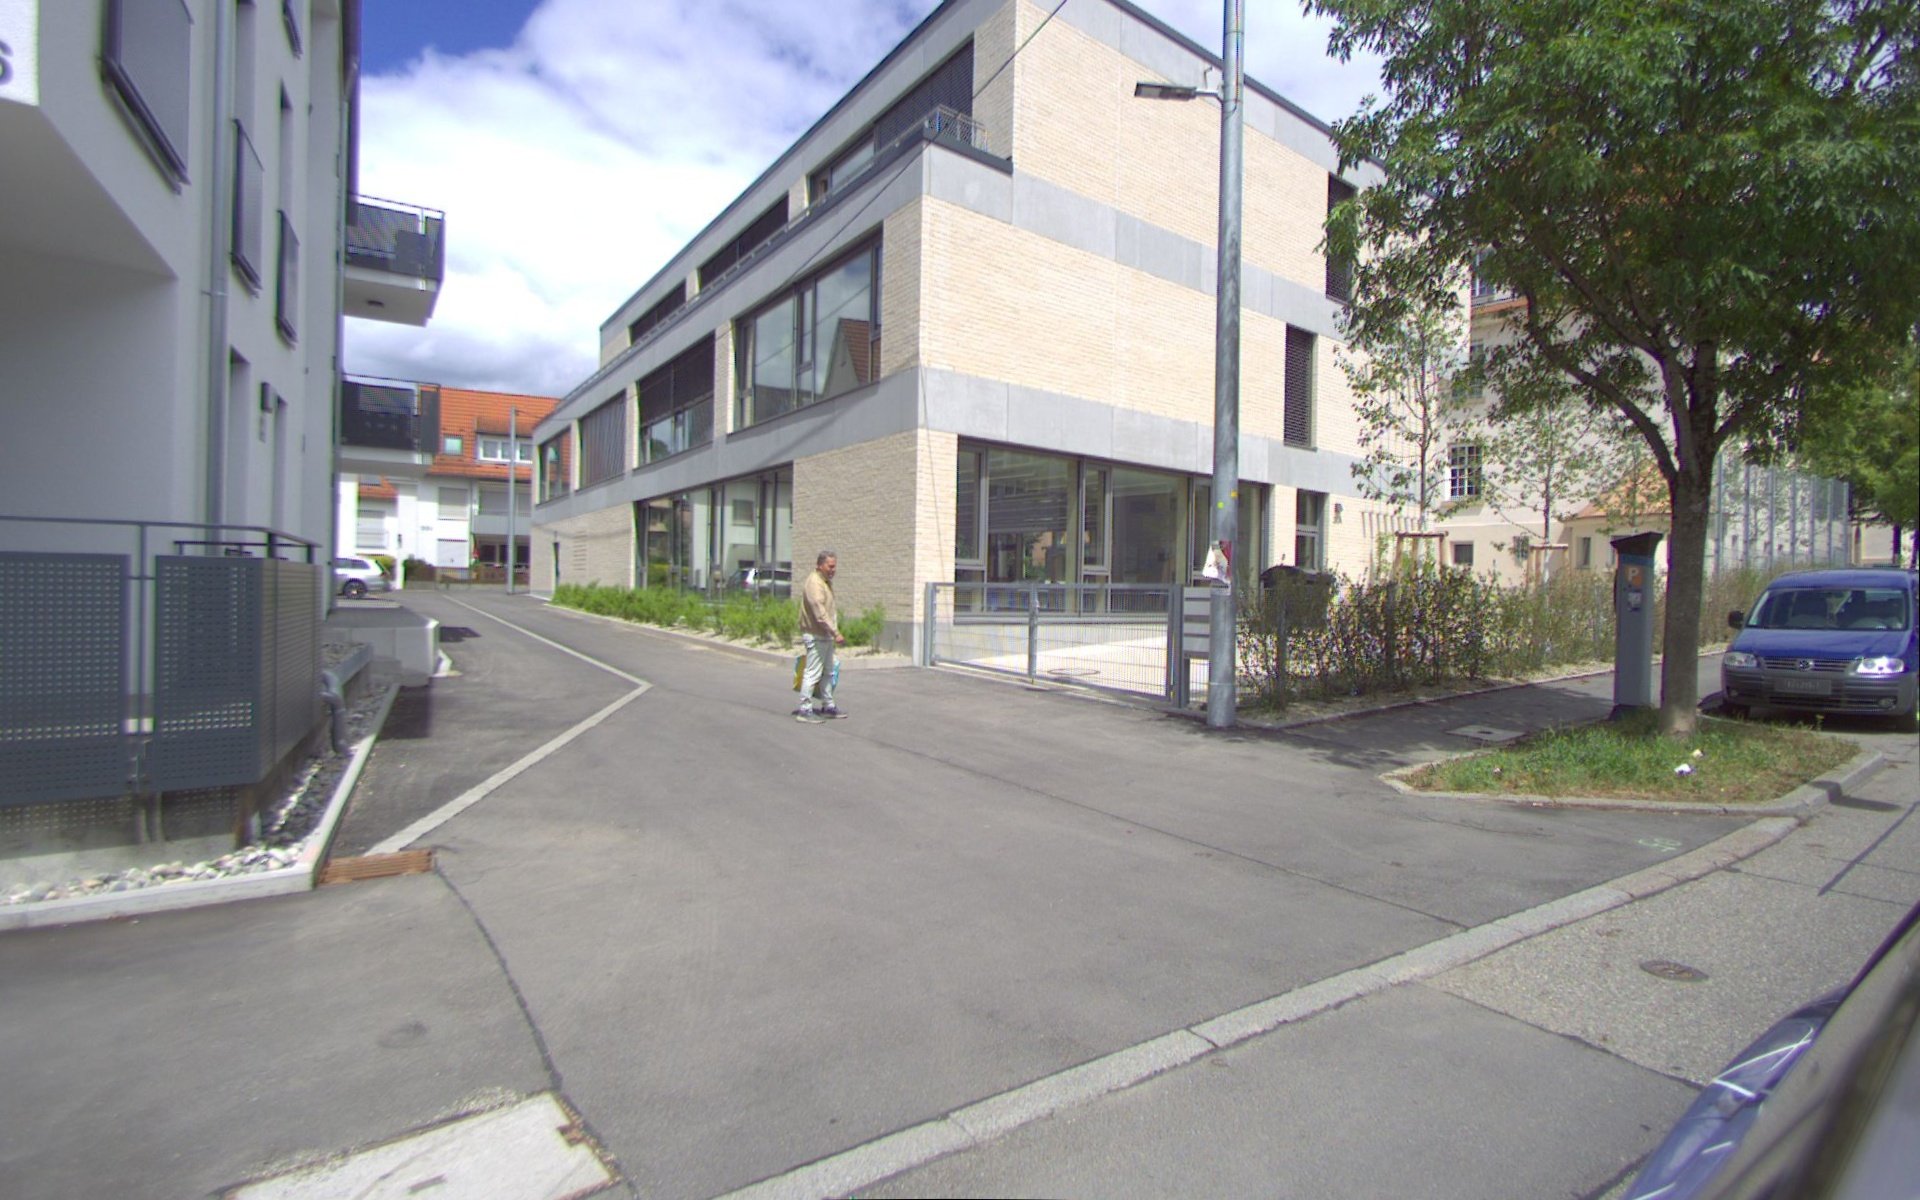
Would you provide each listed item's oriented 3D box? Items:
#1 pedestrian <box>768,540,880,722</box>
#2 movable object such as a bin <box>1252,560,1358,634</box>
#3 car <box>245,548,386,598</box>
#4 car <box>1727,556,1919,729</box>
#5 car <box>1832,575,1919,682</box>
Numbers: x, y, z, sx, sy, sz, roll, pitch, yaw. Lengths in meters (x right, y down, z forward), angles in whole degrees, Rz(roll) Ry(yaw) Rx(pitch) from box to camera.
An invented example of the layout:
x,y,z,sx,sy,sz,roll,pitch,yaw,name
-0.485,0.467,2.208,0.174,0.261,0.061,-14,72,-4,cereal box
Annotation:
x,y,z,sx,sy,sz,roll,pitch,yaw,name
-1.364,0.284,10.144,0.815,1.725,0.774,0,0,-42,pedestrian
7.184,-0.080,21.084,1.774,1.465,1.351,0,1,-39,movable object such as a bin
-21.460,-0.877,33.844,3.857,1.524,1.700,1,1,-31,car
10.848,0.405,12.211,4.086,1.765,1.698,0,1,-40,car
15.103,0.397,15.831,3.605,1.538,1.676,0,1,-40,car
